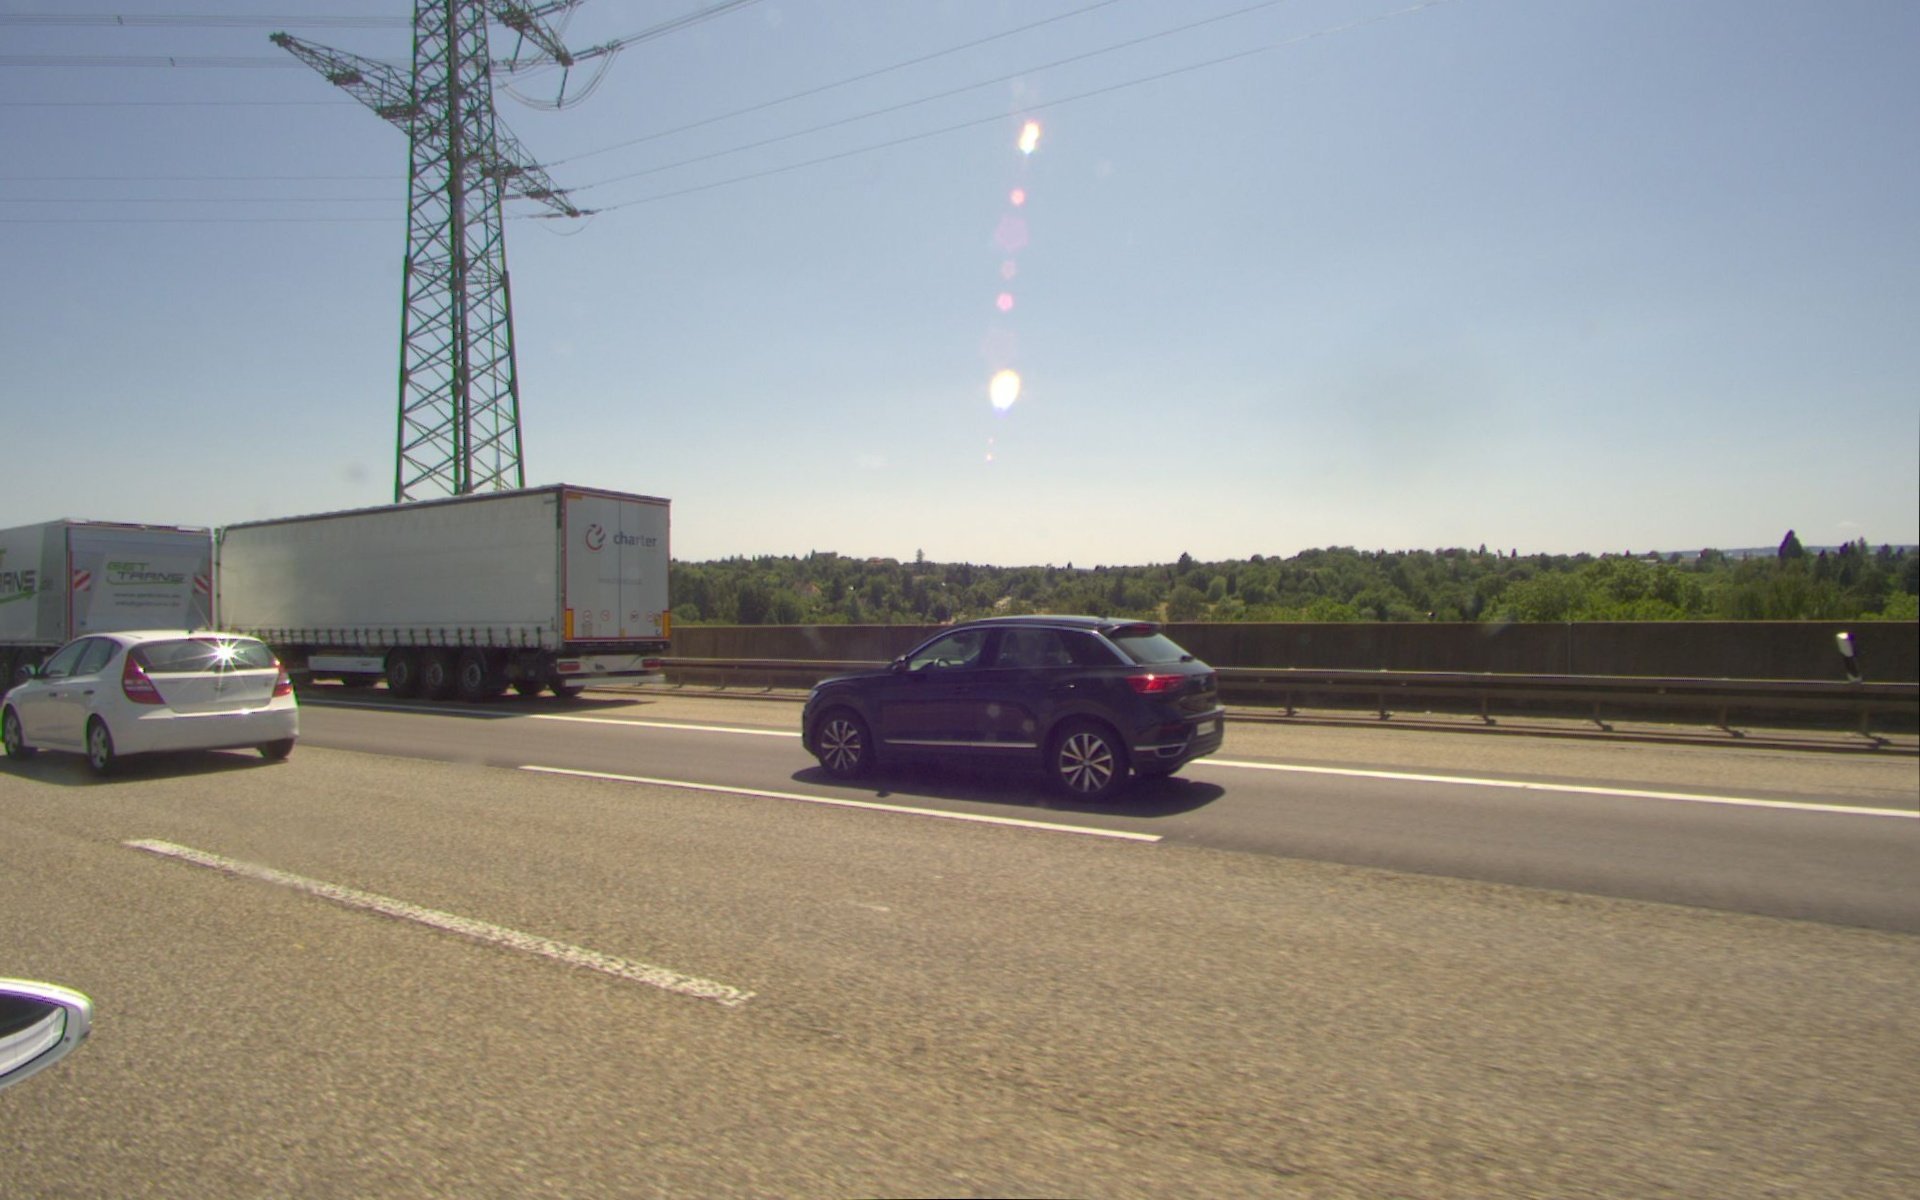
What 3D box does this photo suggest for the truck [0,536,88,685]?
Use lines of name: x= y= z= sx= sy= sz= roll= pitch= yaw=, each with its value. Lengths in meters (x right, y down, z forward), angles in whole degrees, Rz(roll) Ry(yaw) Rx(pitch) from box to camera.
truck: x=-28.205 y=0.326 z=28.011 sx=10.850 sy=3.695 sz=2.652 roll=-1 pitch=0 yaw=32

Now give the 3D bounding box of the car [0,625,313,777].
car: x=-9.611 y=1.040 z=11.739 sx=4.231 sy=1.474 sz=1.785 roll=-1 pitch=-1 yaw=32

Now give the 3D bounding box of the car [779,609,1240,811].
car: x=0.390 y=0.899 z=9.484 sx=4.047 sy=1.546 sz=1.733 roll=-1 pitch=-2 yaw=32

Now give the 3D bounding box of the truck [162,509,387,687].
truck: x=-18.147 y=0.048 z=26.440 sx=6.071 sy=4.194 sz=2.688 roll=-1 pitch=-2 yaw=32

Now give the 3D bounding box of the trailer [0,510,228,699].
trailer: x=-20.246 y=0.150 z=23.075 sx=7.898 sy=3.748 sz=2.693 roll=-1 pitch=0 yaw=32

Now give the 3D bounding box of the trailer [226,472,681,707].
trailer: x=-11.936 y=-0.061 z=22.539 sx=13.232 sy=4.195 sz=2.710 roll=-1 pitch=-1 yaw=32
